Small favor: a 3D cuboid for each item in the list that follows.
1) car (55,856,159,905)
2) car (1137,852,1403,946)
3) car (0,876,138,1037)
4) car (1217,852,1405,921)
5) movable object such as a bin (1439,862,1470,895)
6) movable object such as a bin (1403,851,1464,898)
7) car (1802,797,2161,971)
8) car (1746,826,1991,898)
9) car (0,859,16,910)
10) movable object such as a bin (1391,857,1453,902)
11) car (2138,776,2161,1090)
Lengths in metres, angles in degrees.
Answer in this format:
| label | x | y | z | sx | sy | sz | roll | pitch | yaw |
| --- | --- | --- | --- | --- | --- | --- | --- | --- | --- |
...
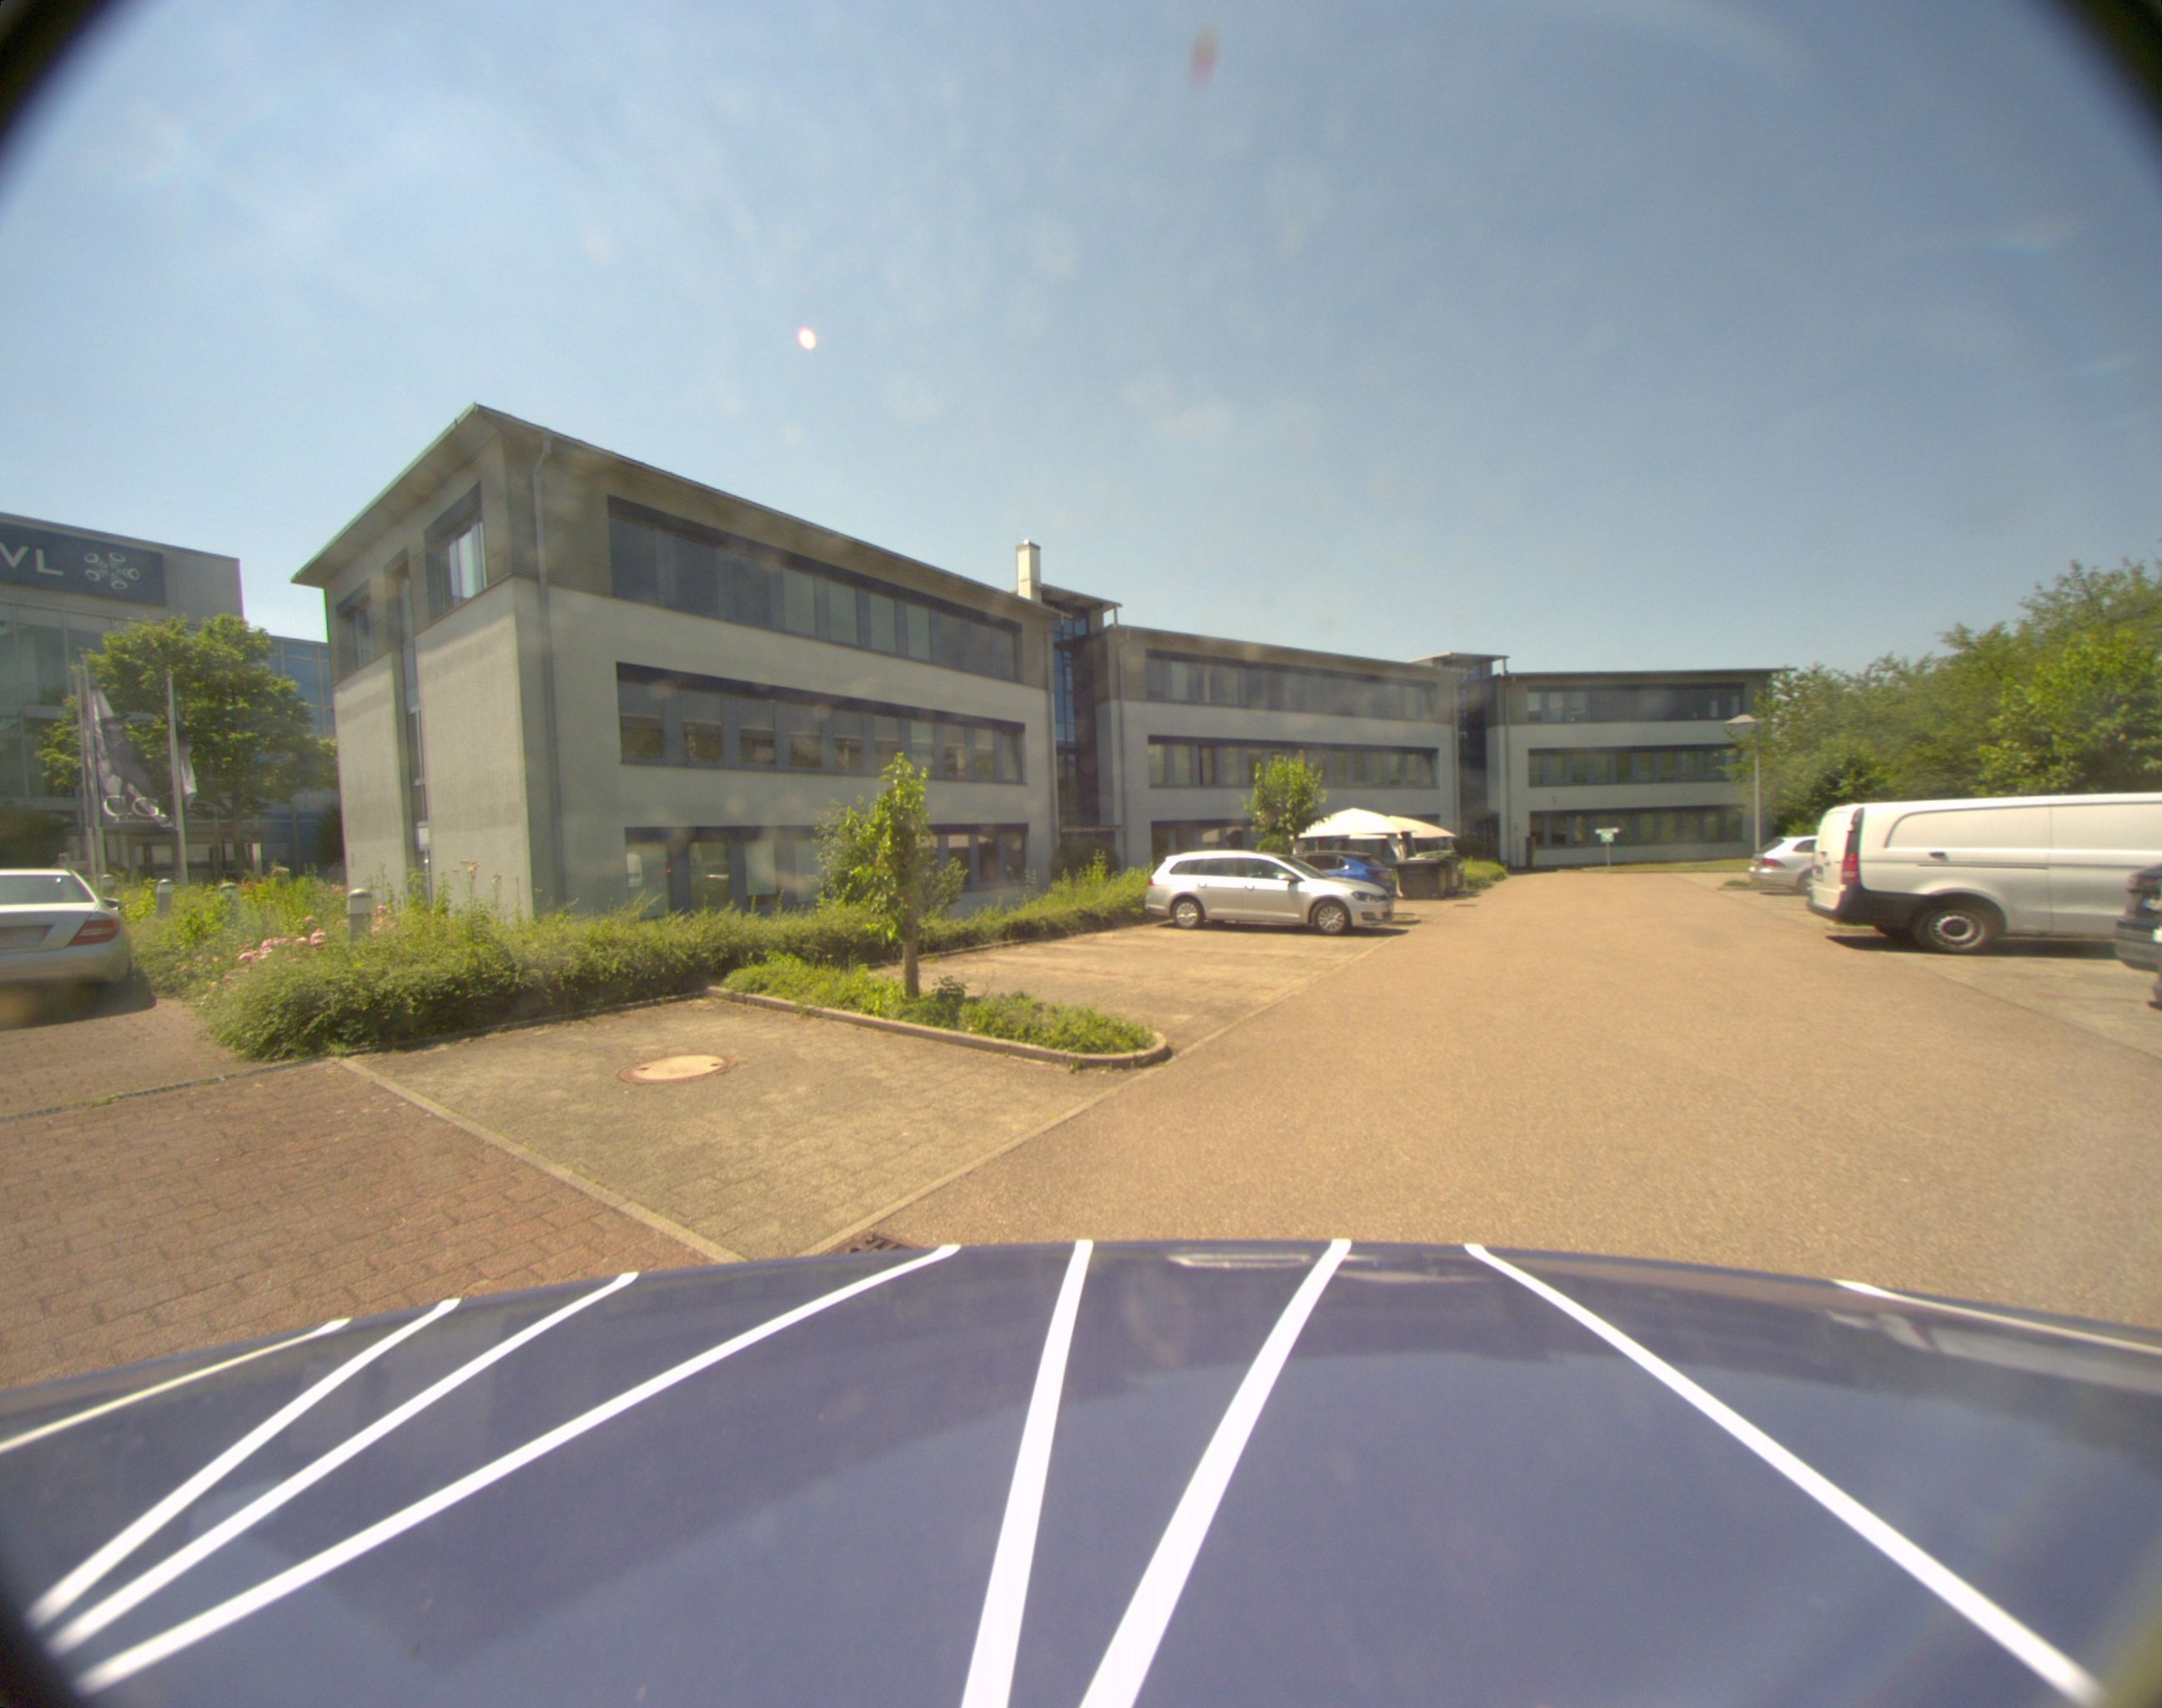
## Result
| label | x | y | z | sx | sy | sz | roll | pitch | yaw |
| --- | --- | --- | --- | --- | --- | --- | --- | --- | --- |
| car | -33.066 | 0.884 | 25.771 | 3.989 | 1.510 | 1.753 | -1 | 1 | 33 |
| car | 3.501 | 0.729 | 14.331 | 4.508 | 1.489 | 1.832 | 0 | 2 | 32 |
| car | -11.452 | 0.990 | 7.879 | 3.706 | 1.428 | 1.733 | -1 | 1 | 34 |
| car | 5.251 | 0.670 | 17.475 | 3.816 | 1.384 | 1.655 | 0 | 2 | 32 |
| movable object such as a bin | 11.055 | 0.722 | 22.496 | 0.689 | 0.944 | 0.723 | -1 | 1 | 38 |
| movable object such as a bin | 10.182 | 0.578 | 21.942 | 1.361 | 1.288 | 1.045 | -1 | 1 | 38 |
| car | 11.901 | 0.307 | 9.051 | 4.508 | 1.871 | 1.832 | -1 | 1 | 32 |
| car | 18.474 | 0.198 | 18.087 | 3.755 | 1.549 | 1.664 | -1 | 1 | 32 |
| car | -34.415 | 0.964 | 23.314 | 3.989 | 1.510 | 1.753 | -1 | 1 | 33 |
| movable object such as a bin | 9.483 | 0.698 | 21.142 | 1.361 | 1.182 | 0.999 | -1 | 1 | 38 |
| car | 8.148 | 0.449 | 2.739 | 4.722 | 1.895 | 1.833 | -1 | 1 | 32 |
